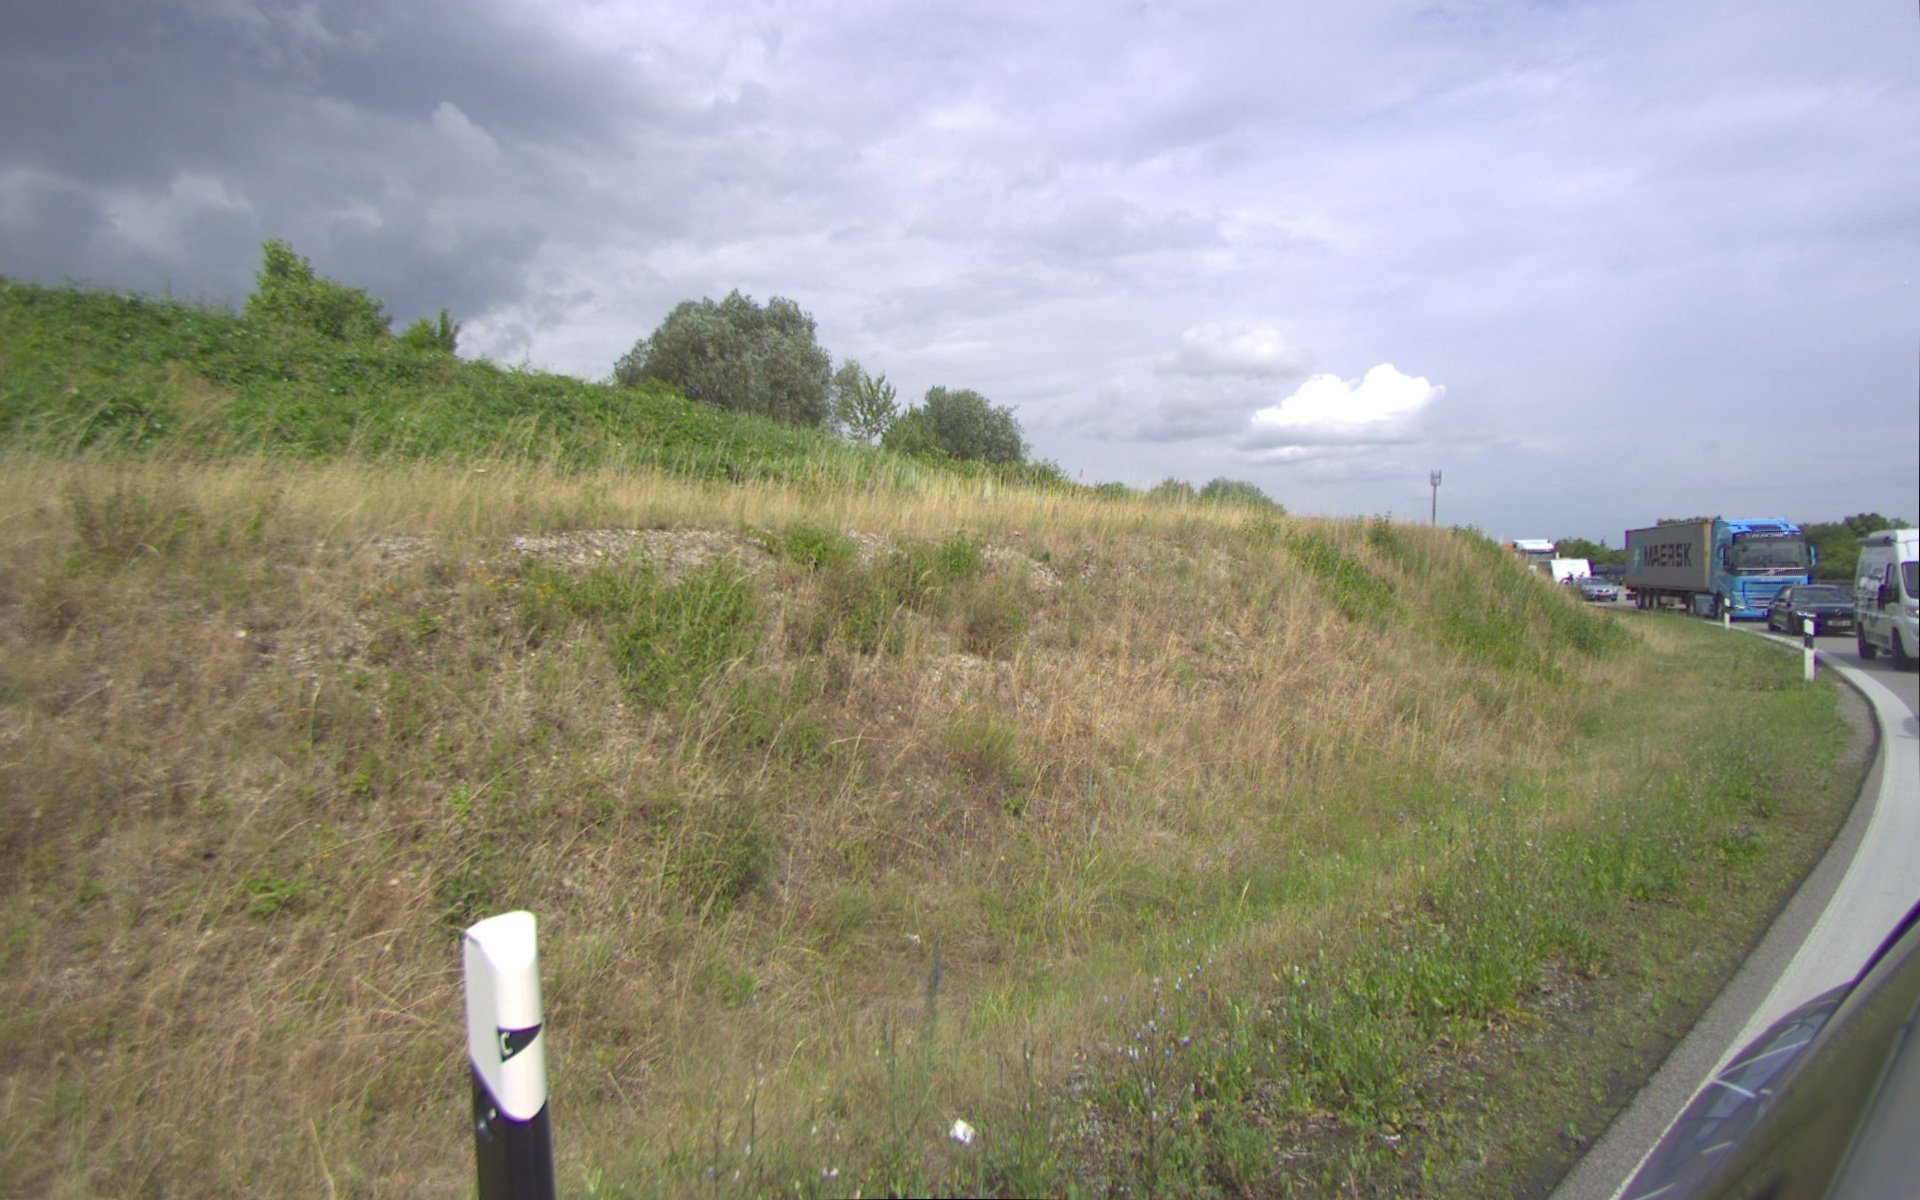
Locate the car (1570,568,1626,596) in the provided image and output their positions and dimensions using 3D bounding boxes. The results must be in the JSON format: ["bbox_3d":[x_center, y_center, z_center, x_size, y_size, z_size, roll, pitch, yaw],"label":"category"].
[{"bbox_3d":[37.971,-1.096,60.344,1.974,1.548,3.977,0,2,19],"label":"car"}]

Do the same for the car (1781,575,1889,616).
[{"bbox_3d":[37.956,-0.253,44.052,2.003,1.597,4.557,2,2,20],"label":"car"}]

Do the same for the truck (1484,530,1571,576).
[{"bbox_3d":[44.021,-3.554,78.952,3.080,3.279,11.113,0,2,14],"label":"truck"}]

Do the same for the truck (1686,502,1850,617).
[{"bbox_3d":[31.582,-1.477,39.934,3.142,4.124,6.600,0,0,21],"label":"truck"}]

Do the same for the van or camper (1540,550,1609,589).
[{"bbox_3d":[40.108,-2.058,66.201,2.519,2.237,5.684,-1,4,17],"label":"van or camper"}]

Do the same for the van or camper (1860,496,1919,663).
[{"bbox_3d":[19.283,-0.392,19.609,2.387,2.945,5.641,0,0,38],"label":"van or camper"}]

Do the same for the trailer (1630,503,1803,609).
[{"bbox_3d":[34.124,-1.799,46.356,3.237,4.214,11.932,0,0,21],"label":"trailer"}]

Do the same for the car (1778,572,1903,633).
[{"bbox_3d":[26.035,-0.002,30.091,1.983,1.638,3.960,1,2,29],"label":"car"}]
